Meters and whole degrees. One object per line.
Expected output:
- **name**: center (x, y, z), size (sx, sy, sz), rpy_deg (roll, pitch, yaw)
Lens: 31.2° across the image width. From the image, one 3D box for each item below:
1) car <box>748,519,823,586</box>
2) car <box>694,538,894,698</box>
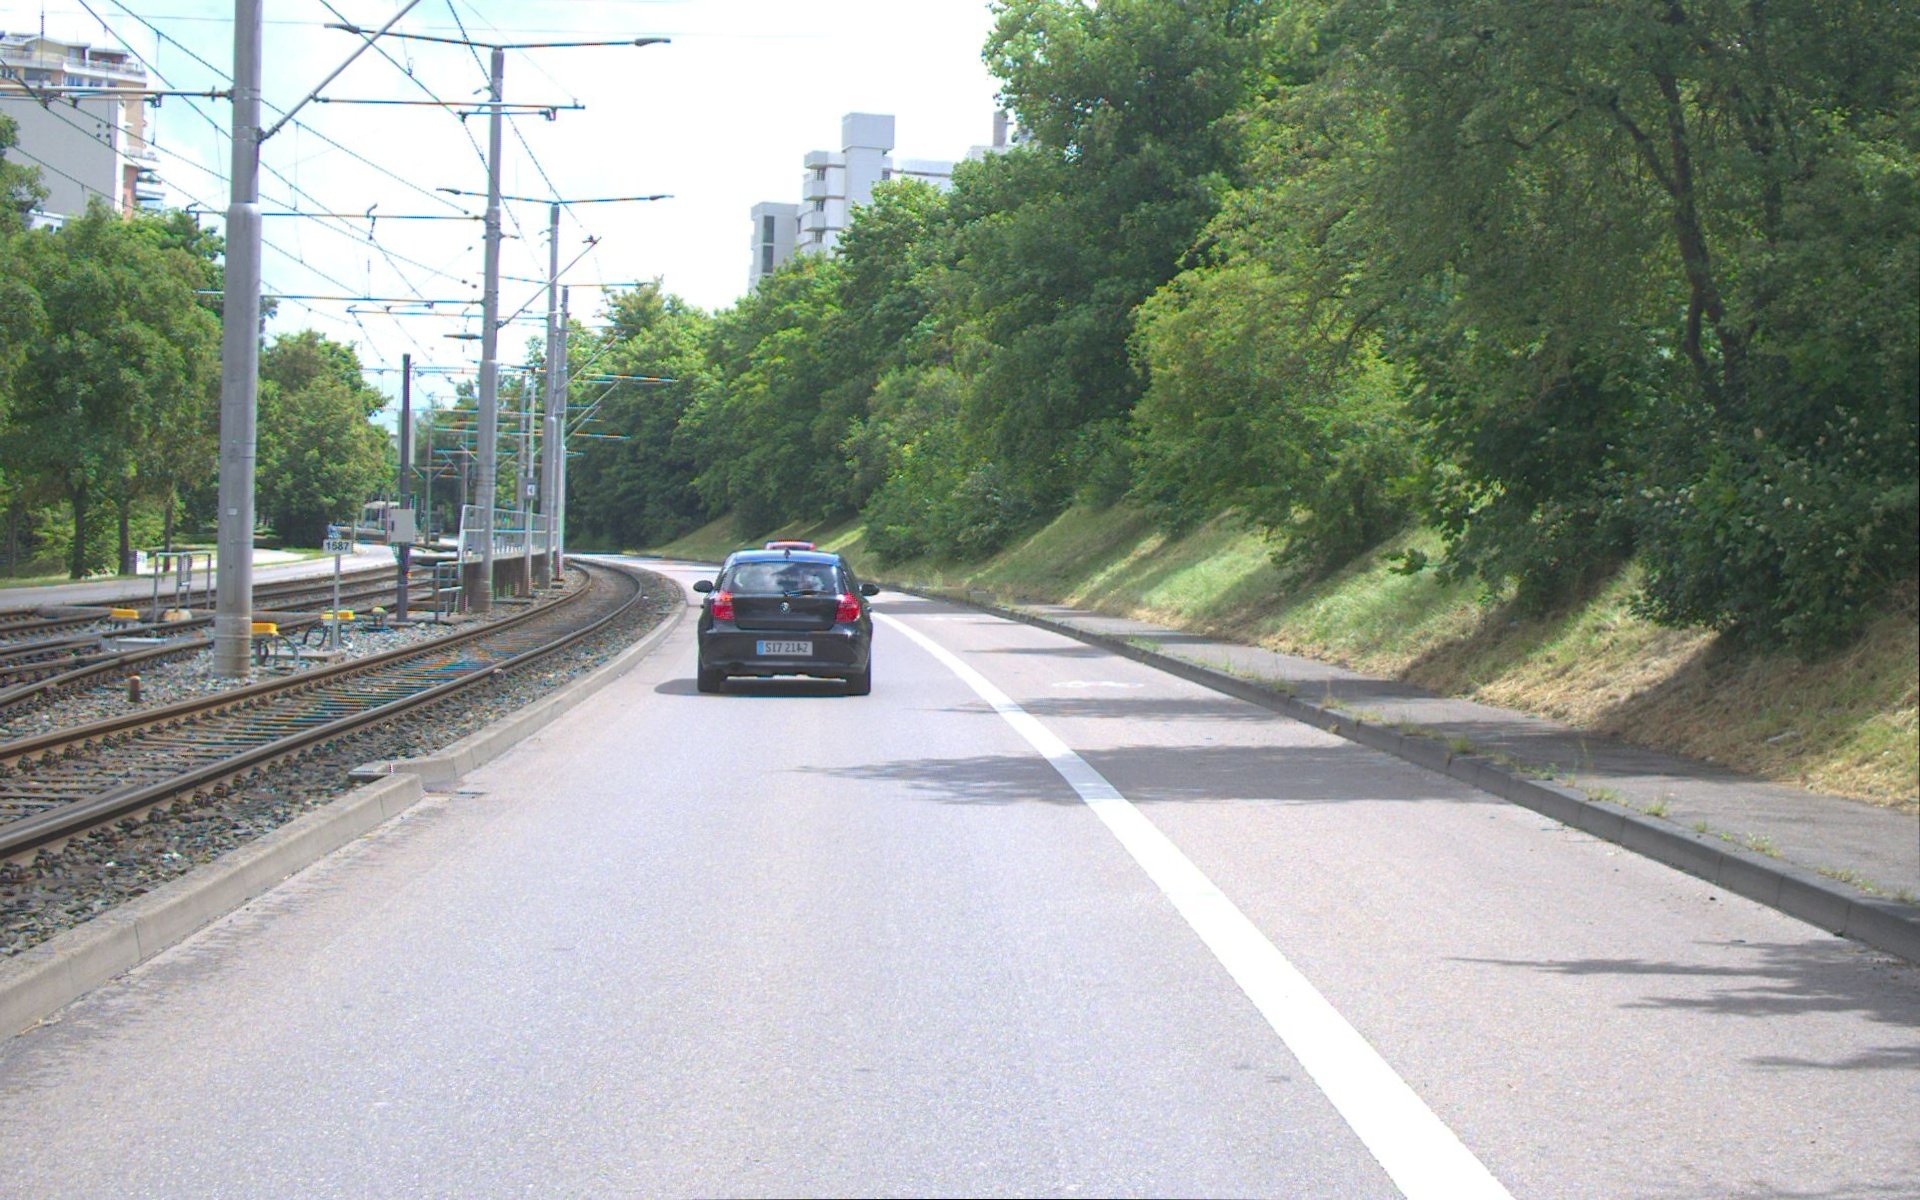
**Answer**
- **car**: center (-4.174, -1.142, 81.874), size (1.624, 1.438, 3.422), rpy_deg (2, 2, -5)
- **car**: center (-1.634, 0.162, 34.943), size (1.708, 1.455, 3.960), rpy_deg (3, 0, 1)
